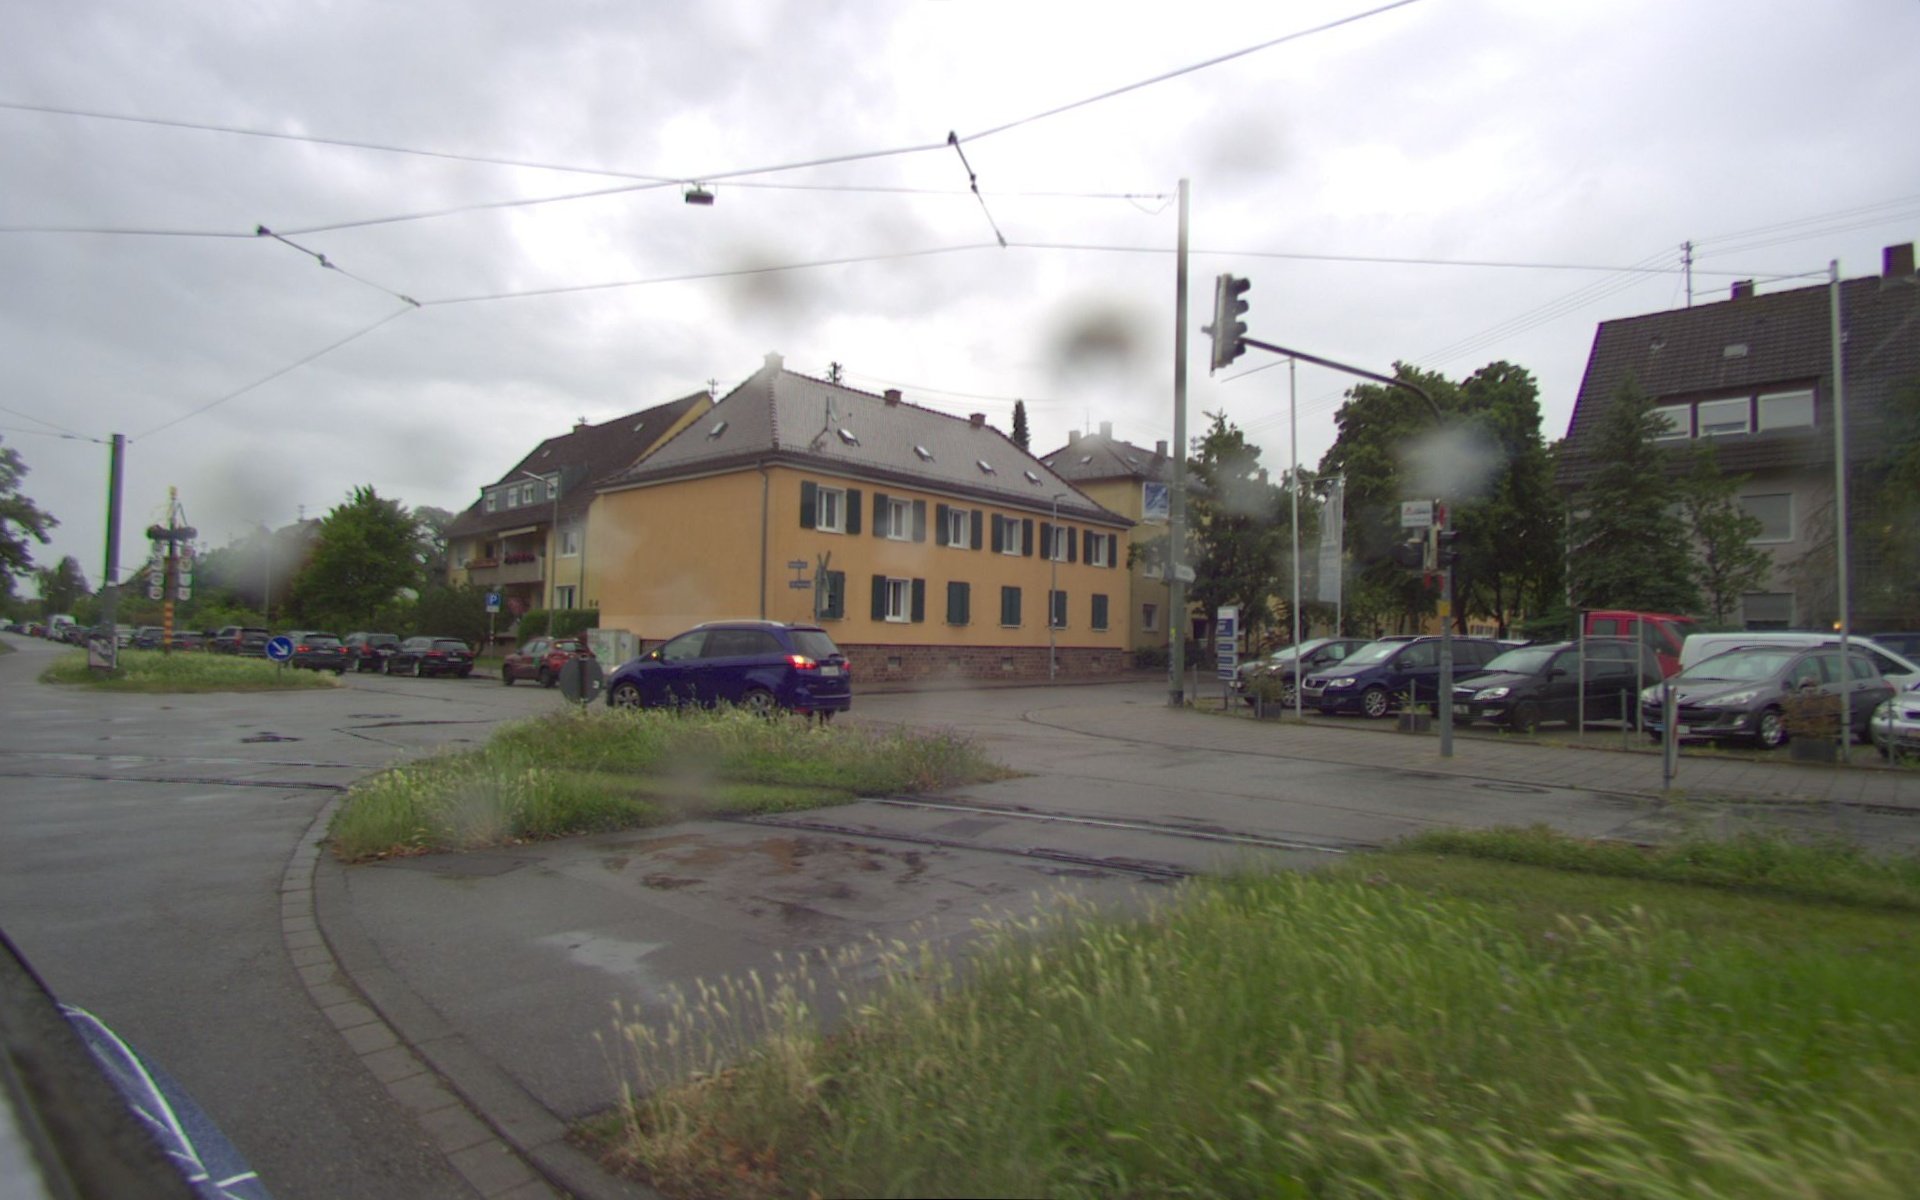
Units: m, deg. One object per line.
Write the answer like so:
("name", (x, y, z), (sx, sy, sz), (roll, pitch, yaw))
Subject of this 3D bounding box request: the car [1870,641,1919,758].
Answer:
("car", (14.591, 1.411, 13.936), (3.988, 1.516, 1.839), (3, -1, -29))

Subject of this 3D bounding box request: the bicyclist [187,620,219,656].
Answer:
("bicyclist", (-35.100, 1.767, 46.928), (1.042, 1.610, 0.936), (-3, -4, 42))

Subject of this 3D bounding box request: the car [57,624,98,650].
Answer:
("car", (-69.837, 2.910, 80.077), (4.000, 1.807, 1.972), (1, -2, 43))

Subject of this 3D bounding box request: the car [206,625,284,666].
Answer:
("car", (-35.035, 2.198, 49.556), (3.994, 1.807, 1.975), (2, -1, 37))

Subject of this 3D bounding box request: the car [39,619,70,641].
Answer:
("car", (-91.129, 3.002, 101.837), (4.002, 2.049, 1.971), (1, -2, 45))

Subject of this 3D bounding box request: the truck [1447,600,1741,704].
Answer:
("truck", (15.582, 1.308, 25.418), (1.965, 2.289, 6.122), (3, -4, -26))

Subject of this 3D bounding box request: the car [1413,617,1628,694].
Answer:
("car", (13.009, 1.304, 23.756), (1.965, 1.610, 3.991), (3, -4, -26))

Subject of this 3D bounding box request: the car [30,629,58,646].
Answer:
("car", (-106.851, 4.330, 118.006), (4.000, 1.807, 1.972), (1, -2, 43))

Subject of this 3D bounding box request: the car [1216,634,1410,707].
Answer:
("car", (8.051, 1.607, 23.225), (3.807, 1.591, 1.812), (1, -3, -13))

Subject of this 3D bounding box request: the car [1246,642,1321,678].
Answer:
("car", (15.464, 2.875, 48.249), (1.999, 1.630, 3.945), (-1, -4, 41))

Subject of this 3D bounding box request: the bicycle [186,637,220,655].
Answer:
("bicycle", (-35.117, 2.142, 46.938), (1.819, 0.792, 0.929), (-2, -4, 43))

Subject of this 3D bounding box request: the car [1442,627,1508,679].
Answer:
("car", (27.413, 2.798, 53.834), (2.159, 2.592, 4.076), (1, -2, 41))

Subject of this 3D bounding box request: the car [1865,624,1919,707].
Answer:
("car", (21.372, 1.376, 20.445), (1.970, 1.700, 4.451), (5, -5, -43))

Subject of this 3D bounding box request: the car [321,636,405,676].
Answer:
("car", (-24.152, 2.240, 40.883), (3.999, 1.342, 1.736), (1, -2, 41))

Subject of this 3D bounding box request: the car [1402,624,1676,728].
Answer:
("car", (10.386, 1.369, 18.286), (3.933, 1.730, 2.005), (2, -3, -13))

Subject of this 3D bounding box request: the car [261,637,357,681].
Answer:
("car", (-23.580, 2.098, 36.610), (4.000, 1.487, 1.972), (-2, -4, 43))

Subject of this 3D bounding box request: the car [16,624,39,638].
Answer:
("car", (-132.856, 4.369, 144.138), (4.000, 1.807, 1.972), (1, -2, 43))

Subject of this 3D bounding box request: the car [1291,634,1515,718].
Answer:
("car", (8.934, 1.530, 20.519), (3.807, 1.591, 1.812), (1, -3, -13))

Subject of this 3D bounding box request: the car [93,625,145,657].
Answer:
("car", (-53.090, 2.600, 63.864), (4.000, 1.807, 1.972), (1, -2, 43))

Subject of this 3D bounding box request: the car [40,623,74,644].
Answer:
("car", (-86.263, 3.231, 96.702), (4.000, 1.807, 1.972), (1, -2, 43))

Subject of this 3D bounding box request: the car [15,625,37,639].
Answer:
("car", (-137.356, 4.668, 148.819), (4.000, 1.807, 1.972), (1, -2, 43))

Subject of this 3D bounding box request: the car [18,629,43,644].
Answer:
("car", (-120.329, 4.709, 130.995), (4.000, 1.807, 1.972), (1, -2, 43))

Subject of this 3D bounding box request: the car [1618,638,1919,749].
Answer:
("car", (12.750, 1.460, 15.961), (3.989, 1.516, 1.839), (3, -1, -18))

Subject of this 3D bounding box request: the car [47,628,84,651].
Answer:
("car", (-78.725, 3.437, 89.061), (4.000, 1.807, 1.972), (1, -2, 43))

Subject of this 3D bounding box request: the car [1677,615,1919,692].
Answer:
("car", (20.394, 1.294, 24.688), (1.970, 1.700, 4.451), (5, -5, -43))

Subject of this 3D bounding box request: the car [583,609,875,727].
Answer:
("car", (-3.903, 1.058, 17.042), (4.550, 1.617, 1.982), (2, -1, 27))

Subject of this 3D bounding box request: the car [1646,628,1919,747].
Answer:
("car", (15.987, 1.602, 19.322), (1.970, 2.029, 4.451), (5, -5, -43))

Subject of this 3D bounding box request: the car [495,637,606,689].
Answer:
("car", (-12.598, 1.890, 31.084), (3.616, 1.349, 1.699), (1, -2, 42))

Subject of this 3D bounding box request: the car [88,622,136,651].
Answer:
("car", (-58.217, 2.490, 69.460), (4.000, 1.807, 1.972), (1, -2, 43))

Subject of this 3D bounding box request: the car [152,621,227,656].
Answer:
("car", (-40.039, 1.988, 52.587), (4.119, 1.586, 1.975), (2, -1, 37))

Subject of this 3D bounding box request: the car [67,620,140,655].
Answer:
("car", (-38.199, 1.687, 45.095), (4.000, 1.487, 1.972), (-2, -4, 43))

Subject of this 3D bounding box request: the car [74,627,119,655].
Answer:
("car", (-62.345, 2.927, 73.060), (4.000, 1.807, 1.972), (1, -2, 43))

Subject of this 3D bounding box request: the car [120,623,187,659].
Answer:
("car", (-45.071, 2.282, 56.540), (3.994, 1.807, 1.975), (2, -1, 38))

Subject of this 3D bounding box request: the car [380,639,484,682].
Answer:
("car", (-19.347, 2.181, 37.005), (4.504, 1.407, 1.939), (-1, -3, 42))
